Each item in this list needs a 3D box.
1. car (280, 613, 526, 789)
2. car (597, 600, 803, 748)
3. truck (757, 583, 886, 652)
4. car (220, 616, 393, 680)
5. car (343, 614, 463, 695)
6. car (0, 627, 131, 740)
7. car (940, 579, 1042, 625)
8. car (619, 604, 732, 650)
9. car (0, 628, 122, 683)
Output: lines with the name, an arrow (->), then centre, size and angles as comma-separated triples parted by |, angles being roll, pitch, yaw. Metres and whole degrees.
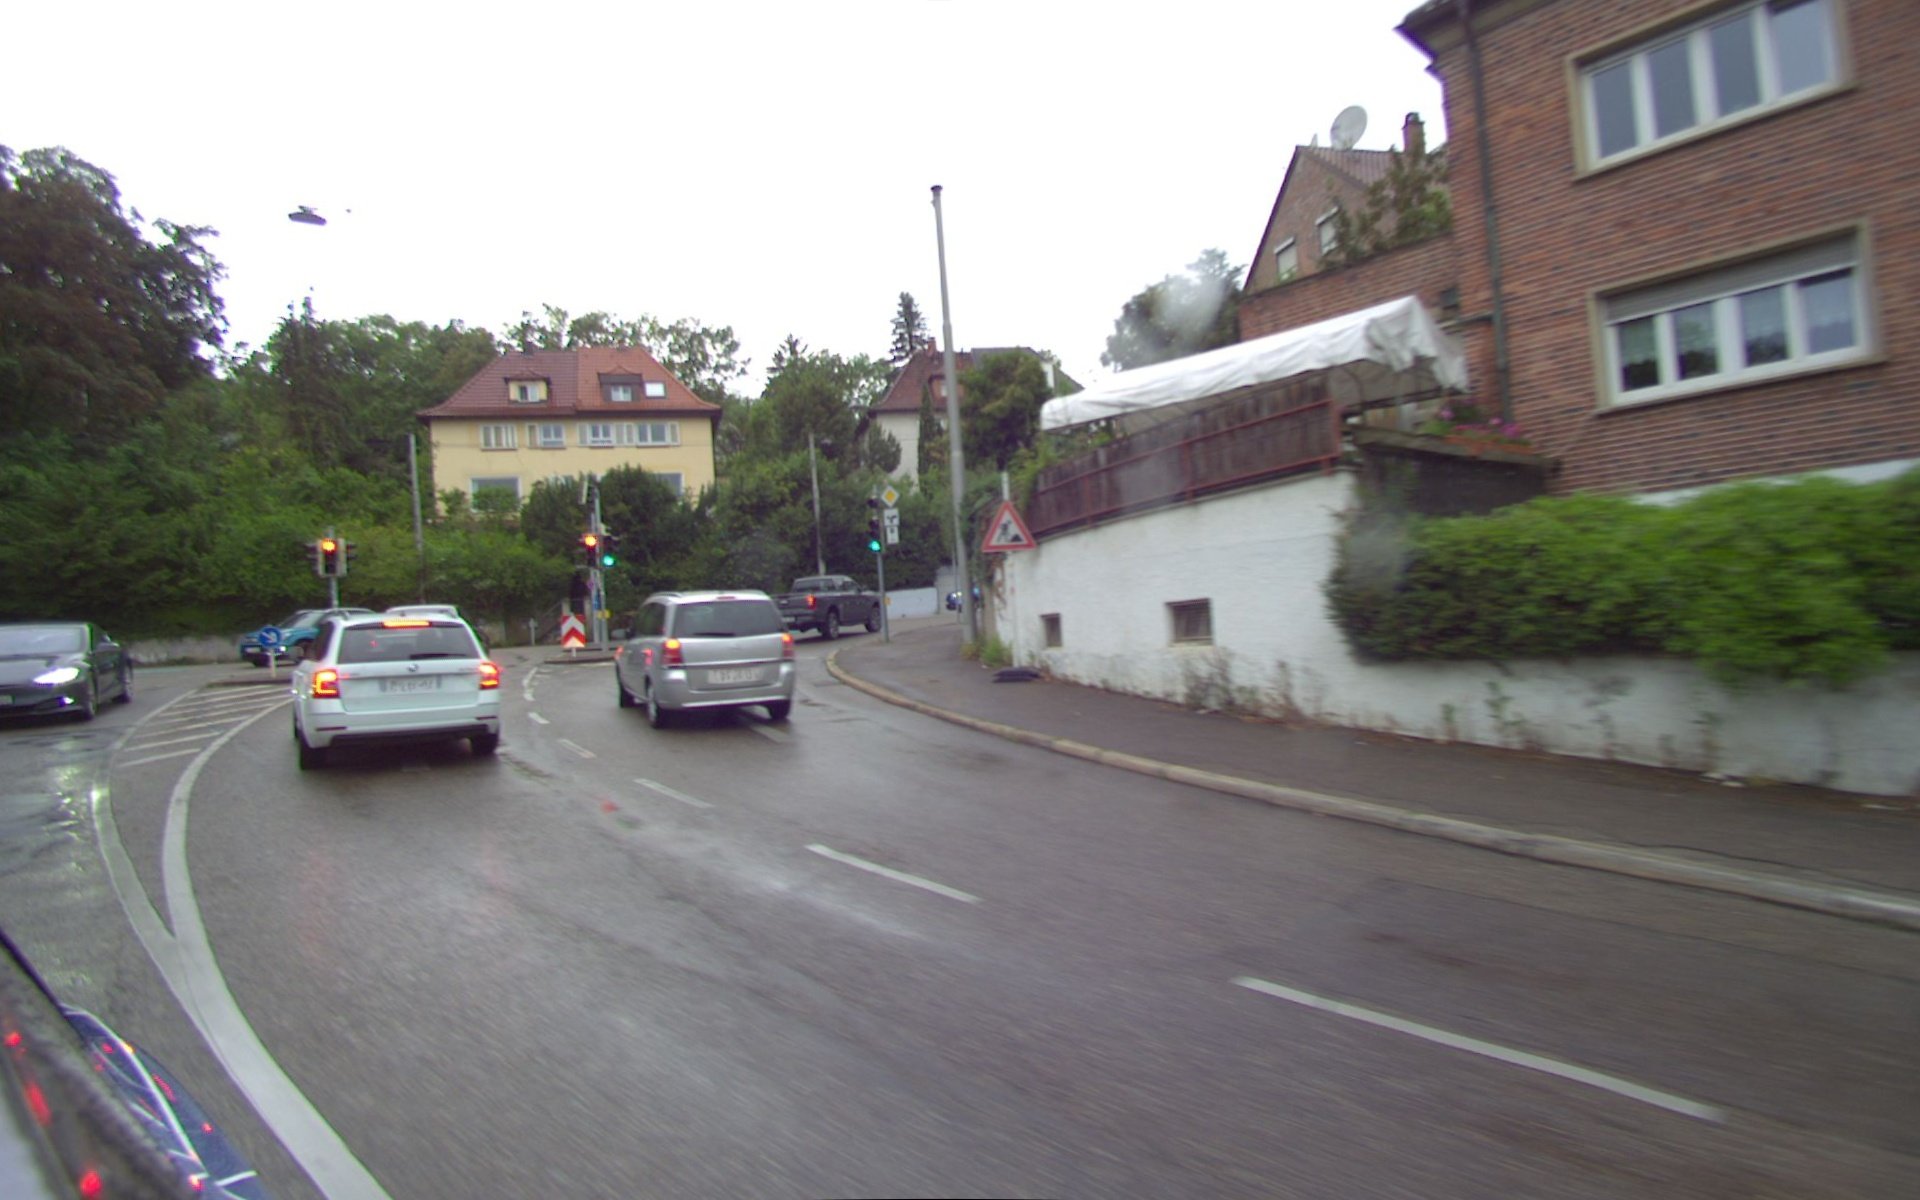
car -> -6.146, 0.944, 10.881 | 1.823, 1.485, 4.452 | 2, -3, -35
car -> -3.632, 0.845, 13.486 | 1.687, 1.597, 4.474 | -1, 0, -27
truck -> -3.965, 0.486, 30.028 | 1.872, 1.862, 5.253 | 0, 0, 16
car -> -19.057, 1.381, 29.729 | 1.787, 1.622, 4.016 | -6, -3, 18
car -> -11.119, 1.009, 20.456 | 1.832, 1.406, 4.611 | 0, 0, -25
car -> -13.883, 1.149, 14.997 | 1.805, 1.402, 4.337 | -1, 0, -31
car -> 1.328, 0.088, 43.870 | 3.973, 1.662, 1.764 | -4, -2, -16
car -> -11.000, 1.053, 39.358 | 3.976, 1.471, 1.763 | -4, -2, -10
car -> -30.582, 1.876, 34.106 | 3.308, 1.462, 1.557 | -5, -4, -28
